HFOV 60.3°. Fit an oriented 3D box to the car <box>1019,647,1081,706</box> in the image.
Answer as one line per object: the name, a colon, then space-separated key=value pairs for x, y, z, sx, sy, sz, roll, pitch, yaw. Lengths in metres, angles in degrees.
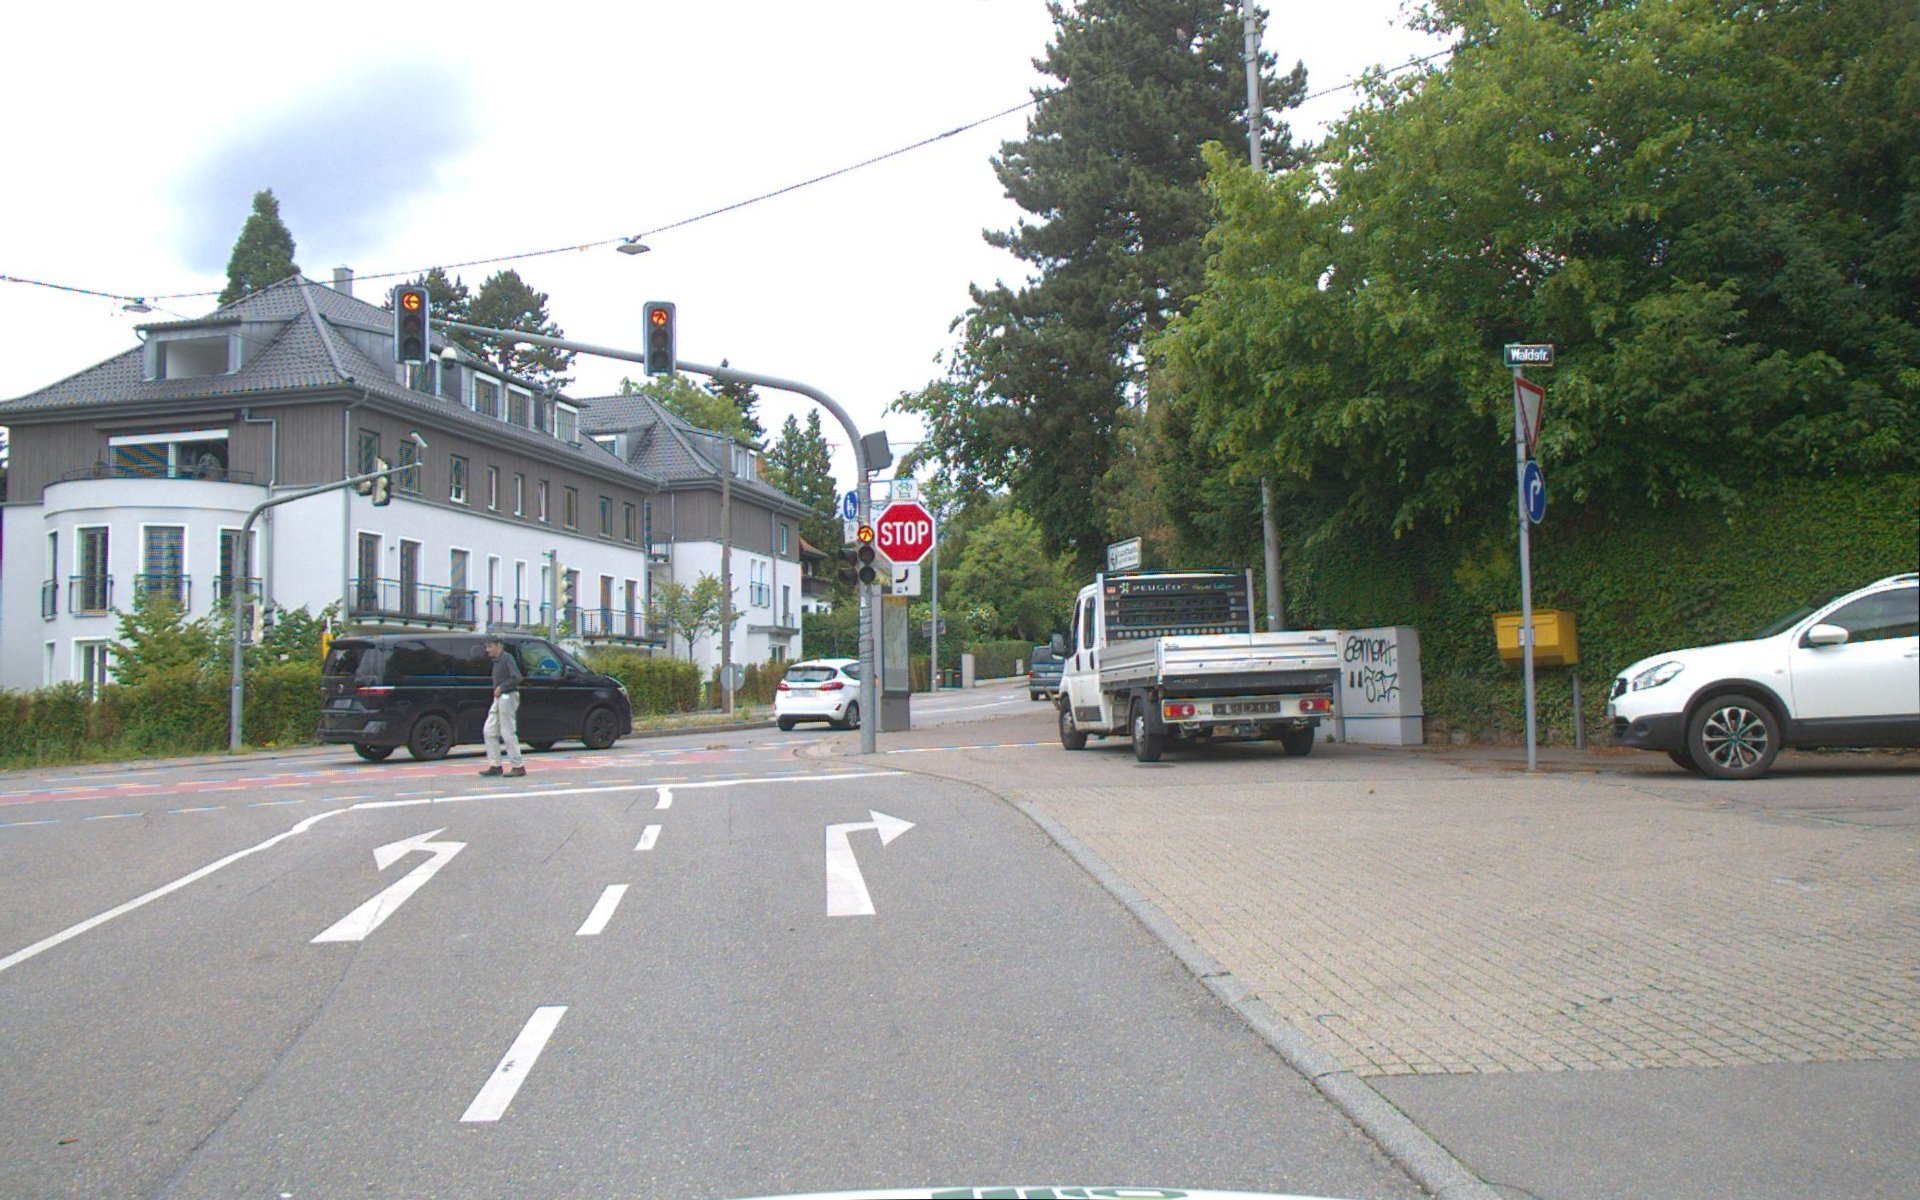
car: x=3.292 y=2.782 z=61.293 sx=1.953 sy=2.049 sz=4.508 roll=-1 pitch=-1 yaw=-1

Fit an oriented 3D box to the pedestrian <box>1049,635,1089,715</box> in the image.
pedestrian: x=2.864 y=1.954 z=43.276 sx=0.821 sy=2.049 sz=0.589 roll=-3 pitch=-2 yaw=23

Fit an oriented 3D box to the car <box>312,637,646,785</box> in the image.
car: x=-7.506 y=1.648 z=26.187 sx=1.965 sy=2.049 sz=4.750 roll=0 pitch=0 yaw=42

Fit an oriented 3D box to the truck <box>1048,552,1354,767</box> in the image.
truck: x=2.719 y=0.783 z=20.452 sx=2.143 sy=2.234 sz=5.869 roll=-1 pitch=-3 yaw=-8

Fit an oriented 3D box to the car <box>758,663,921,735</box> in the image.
car: x=-2.525 y=2.106 z=35.713 sx=1.891 sy=1.407 sz=3.998 roll=-3 pitch=-3 yaw=23

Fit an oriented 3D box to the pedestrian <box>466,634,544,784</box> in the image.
pedestrian: x=-5.391 y=1.272 z=19.595 sx=0.692 sy=1.711 sz=0.678 roll=-1 pitch=0 yaw=-33

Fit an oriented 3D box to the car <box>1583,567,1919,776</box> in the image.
car: x=7.639 y=0.613 z=14.050 sx=4.150 sy=1.622 sz=1.989 roll=-2 pitch=-4 yaw=15
